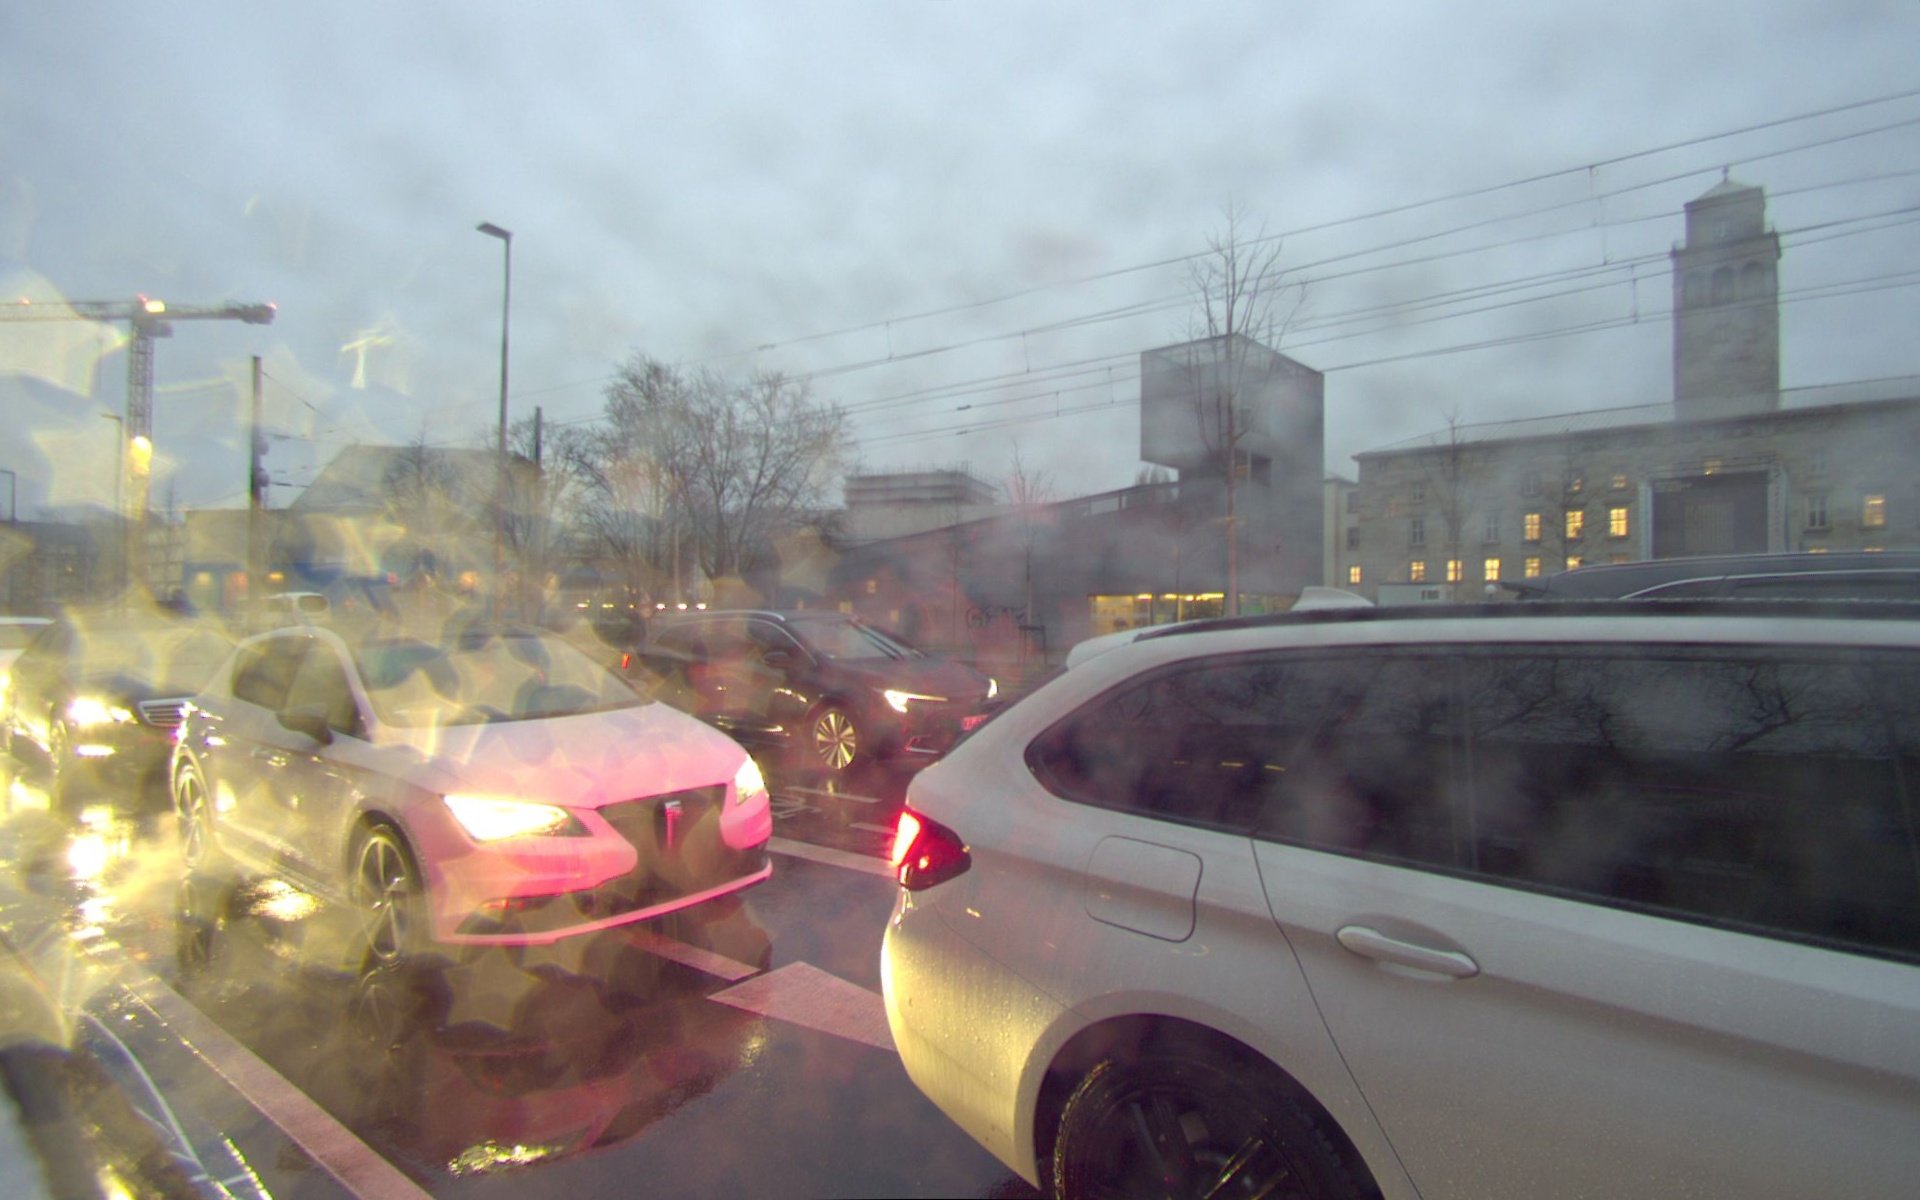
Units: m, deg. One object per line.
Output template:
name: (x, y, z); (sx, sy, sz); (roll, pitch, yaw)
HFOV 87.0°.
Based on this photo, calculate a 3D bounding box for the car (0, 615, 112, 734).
car: (-14.378, 1.036, 15.237); (3.998, 1.586, 1.882); (-1, 0, 41)

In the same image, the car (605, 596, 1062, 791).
car: (-1.426, 0.750, 10.071); (4.659, 1.519, 1.830); (0, -1, 39)

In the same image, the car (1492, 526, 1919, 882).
car: (5.239, 0.473, 4.994); (4.289, 1.596, 1.946); (-1, -1, 42)

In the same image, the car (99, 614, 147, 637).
car: (-71.624, 2.183, 86.596); (3.989, 1.910, 2.072); (-1, -2, 34)

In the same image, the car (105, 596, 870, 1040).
car: (-2.821, 0.769, 5.576); (4.497, 1.498, 1.926); (-1, 0, 37)

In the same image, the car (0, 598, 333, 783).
car: (-8.413, 0.787, 10.424); (4.501, 1.498, 1.974); (-1, -2, 39)

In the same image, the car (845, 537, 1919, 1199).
car: (2.104, 0.690, 1.631); (4.557, 1.498, 1.996); (-1, -2, 41)
